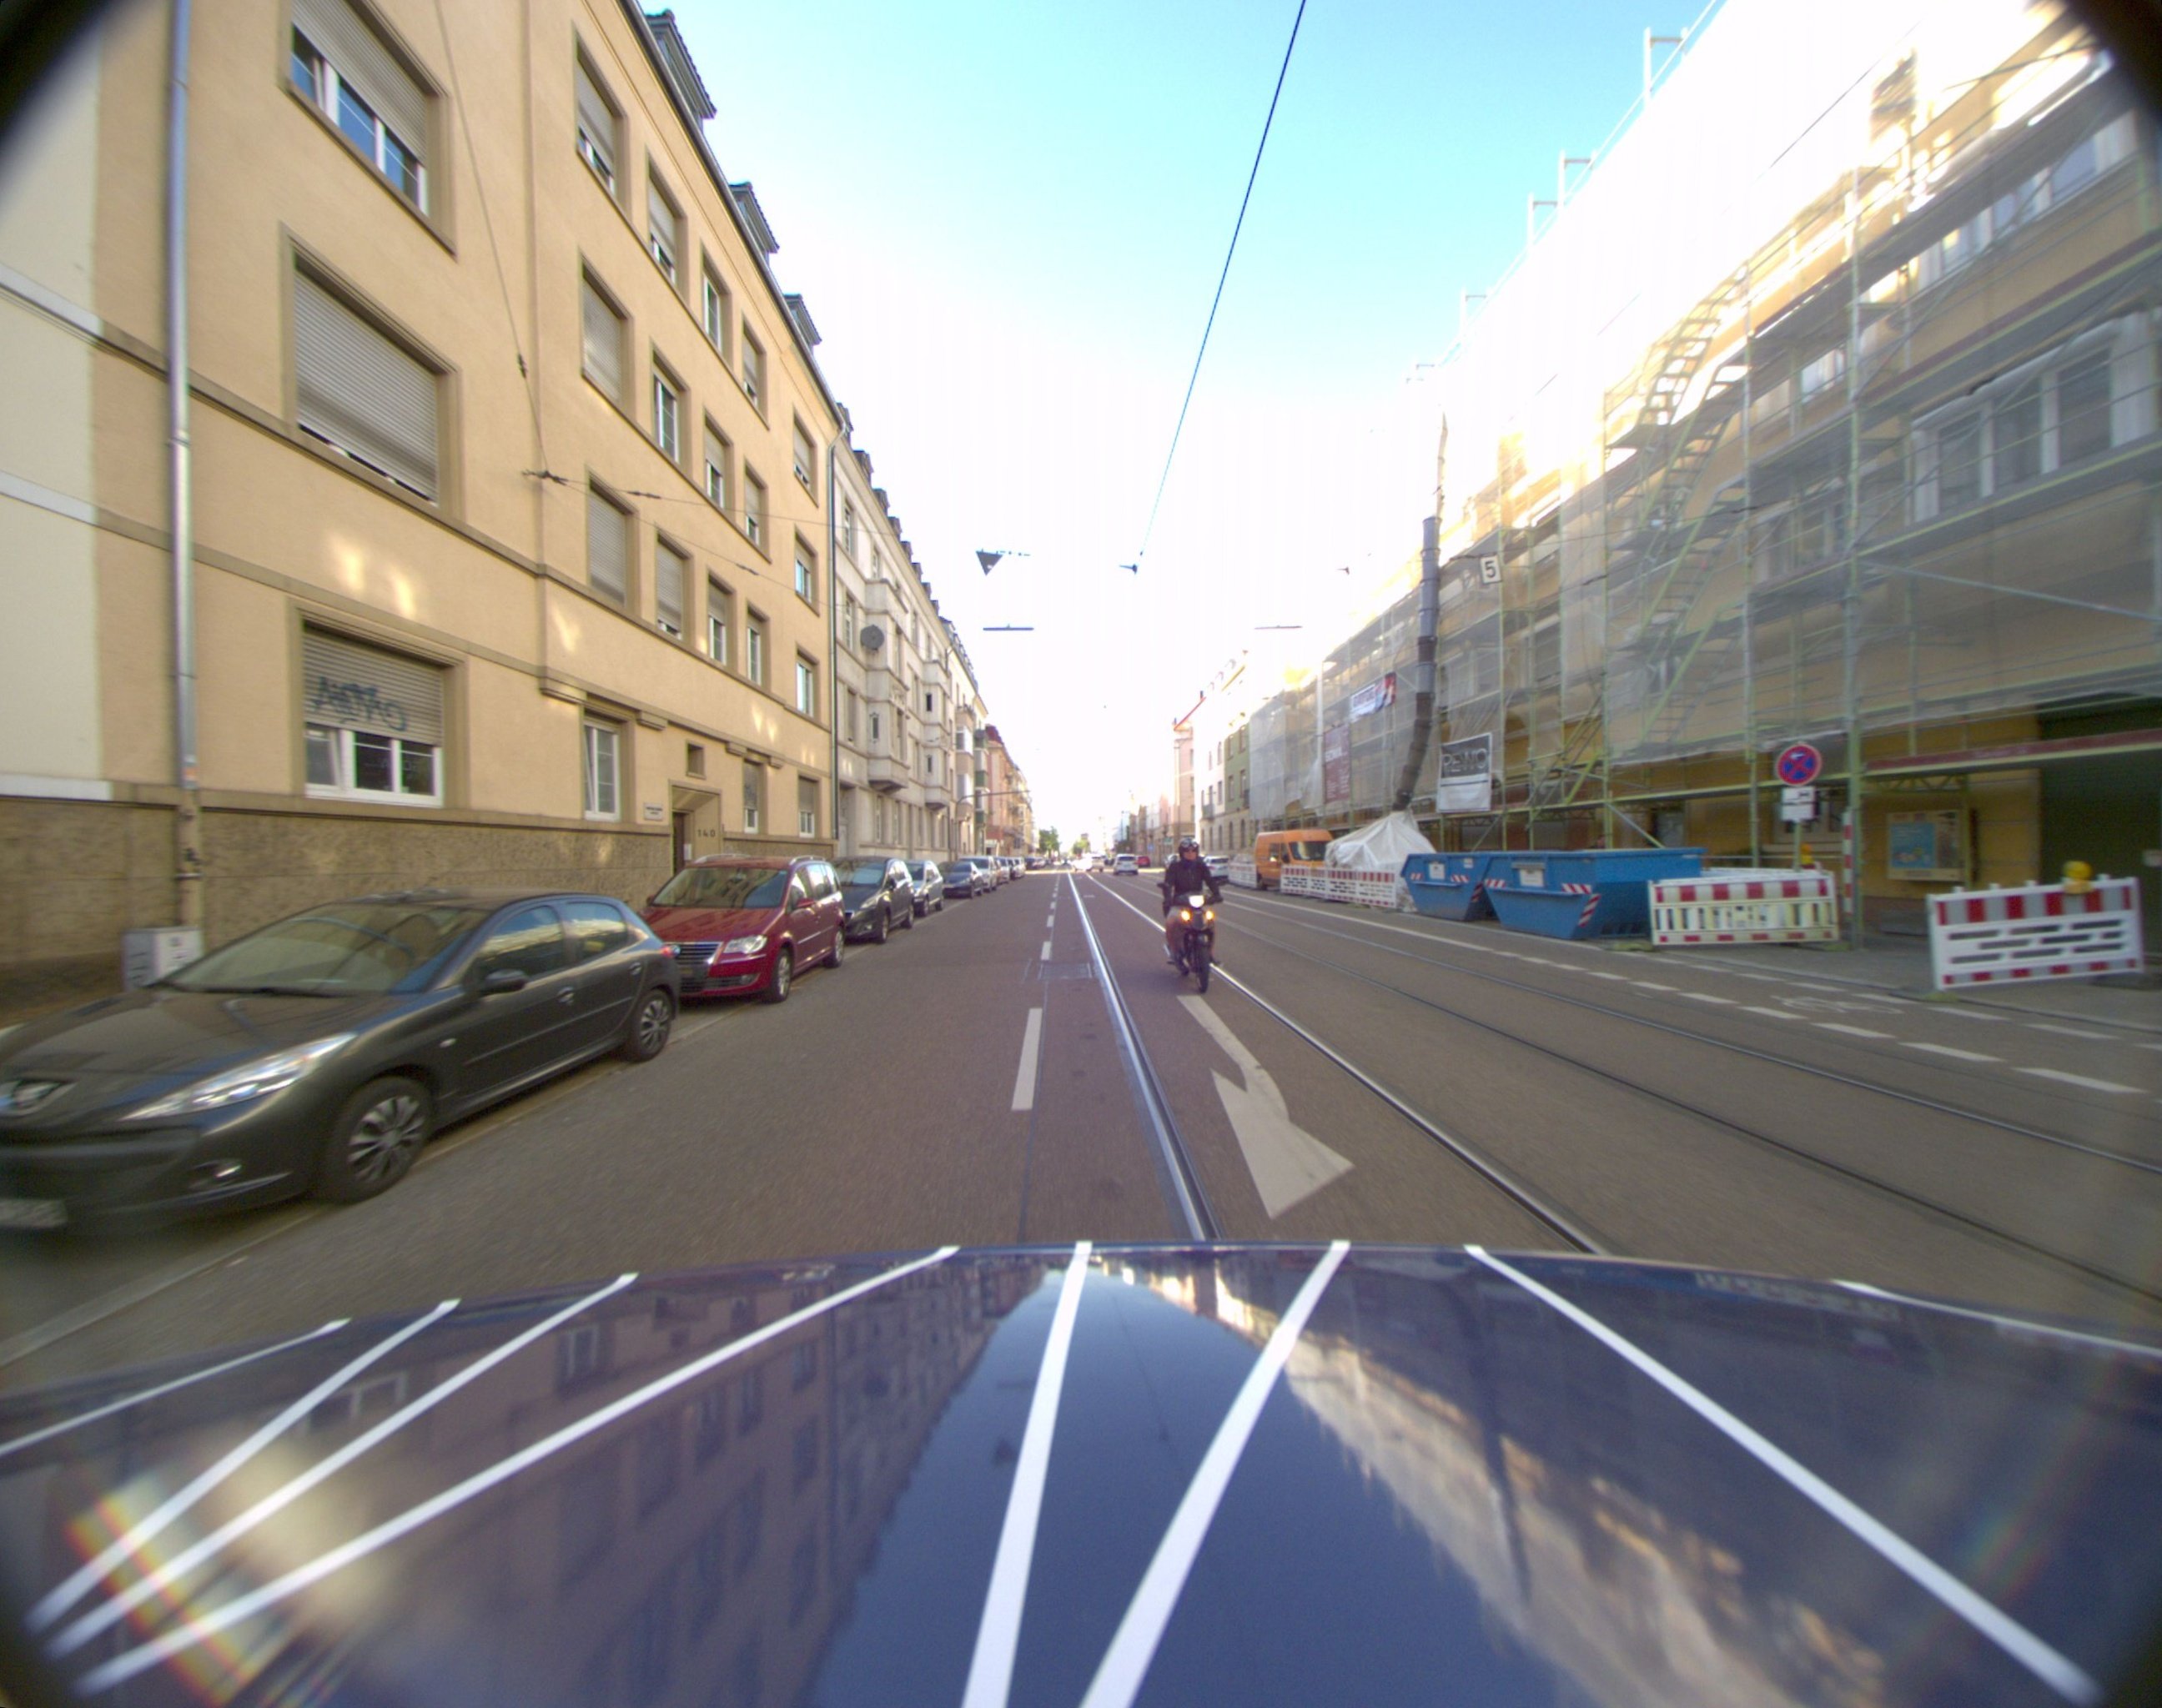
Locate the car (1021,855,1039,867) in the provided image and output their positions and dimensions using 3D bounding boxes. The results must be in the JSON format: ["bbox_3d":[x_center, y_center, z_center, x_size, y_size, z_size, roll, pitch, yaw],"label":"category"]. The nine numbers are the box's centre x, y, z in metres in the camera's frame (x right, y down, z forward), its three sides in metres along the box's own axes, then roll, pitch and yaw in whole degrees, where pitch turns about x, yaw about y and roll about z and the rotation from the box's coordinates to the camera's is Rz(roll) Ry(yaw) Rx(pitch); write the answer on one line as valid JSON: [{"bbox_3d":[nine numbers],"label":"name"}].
[{"bbox_3d":[-6.008,0.839,89.765,1.999,1.412,3.726,0,0,-1],"label":"car"}]

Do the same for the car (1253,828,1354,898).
[{"bbox_3d":[8.536,0.309,29.795,2.125,2.454,5.999,0,0,-1],"label":"car"}]

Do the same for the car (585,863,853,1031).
[{"bbox_3d":[-4.221,0.946,9.652,1.596,1.599,4.245,0,0,-4],"label":"car"}]

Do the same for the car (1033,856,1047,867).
[{"bbox_3d":[-6.451,1.216,119.759,1.999,1.630,3.999,0,0,-1],"label":"car"}]

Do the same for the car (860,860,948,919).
[{"bbox_3d":[-4.765,0.912,20.852,1.613,1.454,3.479,0,0,0],"label":"car"}]

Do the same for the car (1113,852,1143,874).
[{"bbox_3d":[3.696,0.700,60.944,1.826,1.559,4.200,-5,0,-3],"label":"car"}]

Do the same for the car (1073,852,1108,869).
[{"bbox_3d":[0.862,0.605,74.841,1.775,1.598,4.284,0,0,-25],"label":"car"}]

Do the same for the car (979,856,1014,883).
[{"bbox_3d":[-4.872,0.876,44.116,1.570,1.475,3.365,2,0,1],"label":"car"}]

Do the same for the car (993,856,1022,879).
[{"bbox_3d":[-5.206,0.933,54.035,1.703,1.496,3.862,-1,0,0],"label":"car"}]

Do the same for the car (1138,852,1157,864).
[{"bbox_3d":[8.299,0.493,95.100,1.798,1.494,3.768,-3,0,-2],"label":"car"}]

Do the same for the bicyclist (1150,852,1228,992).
[{"bbox_3d":[1.245,0.753,8.815,0.843,1.545,0.850,0,1,7],"label":"bicyclist"}]

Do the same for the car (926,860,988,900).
[{"bbox_3d":[-4.825,0.973,30.047,1.703,1.444,4.206,1,0,1],"label":"car"}]

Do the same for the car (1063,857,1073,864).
[{"bbox_3d":[-2.853,1.410,164.336,1.999,1.586,3.999,0,0,-1],"label":"car"}]

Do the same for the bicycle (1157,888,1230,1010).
[{"bbox_3d":[1.285,1.025,8.843,0.740,1.170,1.975,0,0,7],"label":"bicycle"}]

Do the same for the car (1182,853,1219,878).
[{"bbox_3d":[8.395,0.775,53.656,1.702,1.569,4.222,-3,0,-2],"label":"car"}]

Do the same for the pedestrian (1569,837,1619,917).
[{"bbox_3d":[11.043,0.490,16.376,0.582,1.684,0.717,-1,1,-1],"label":"pedestrian"}]

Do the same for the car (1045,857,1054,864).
[{"bbox_3d":[-7.274,1.472,177.589,1.999,1.674,3.999,0,0,-1],"label":"car"}]

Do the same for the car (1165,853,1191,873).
[{"bbox_3d":[8.225,0.731,64.617,1.798,1.601,3.770,-1,0,2],"label":"car"}]

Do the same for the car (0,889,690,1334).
[{"bbox_3d":[-4.199,1.039,4.728,1.586,1.455,3.880,0,0,-1],"label":"car"}]

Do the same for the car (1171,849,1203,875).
[{"bbox_3d":[8.298,0.614,59.615,1.798,1.836,3.768,-3,0,-2],"label":"car"}]

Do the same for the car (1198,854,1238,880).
[{"bbox_3d":[8.555,0.783,47.631,1.751,1.502,3.999,0,0,-1],"label":"car"}]

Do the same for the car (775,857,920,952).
[{"bbox_3d":[-4.563,0.898,15.532,1.795,1.642,4.365,0,0,-3],"label":"car"}]

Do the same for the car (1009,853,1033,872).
[{"bbox_3d":[-5.172,0.732,65.597,1.703,1.581,3.354,2,0,1],"label":"car"}]

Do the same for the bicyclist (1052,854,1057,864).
[{"bbox_3d":[-4.302,0.804,121.575,0.744,1.481,0.816,-1,1,-2],"label":"bicyclist"}]

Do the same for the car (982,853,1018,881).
[{"bbox_3d":[-5.091,0.809,48.368,1.703,1.688,4.188,1,0,1],"label":"car"}]

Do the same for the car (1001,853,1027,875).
[{"bbox_3d":[-5.164,0.748,59.154,1.703,1.581,3.960,-1,0,-1],"label":"car"}]

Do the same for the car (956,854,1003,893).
[{"bbox_3d":[-4.785,0.871,36.233,1.713,1.683,4.589,0,0,-1],"label":"car"}]

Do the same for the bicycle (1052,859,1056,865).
[{"bbox_3d":[-4.312,1.288,121.464,0.744,0.850,1.885,-1,0,-2],"label":"bicycle"}]

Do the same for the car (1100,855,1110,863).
[{"bbox_3d":[5.296,1.117,168.300,1.798,1.494,3.768,-3,0,-2],"label":"car"}]

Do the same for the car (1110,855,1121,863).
[{"bbox_3d":[6.497,0.970,144.198,1.798,1.494,3.768,-3,0,-2],"label":"car"}]
